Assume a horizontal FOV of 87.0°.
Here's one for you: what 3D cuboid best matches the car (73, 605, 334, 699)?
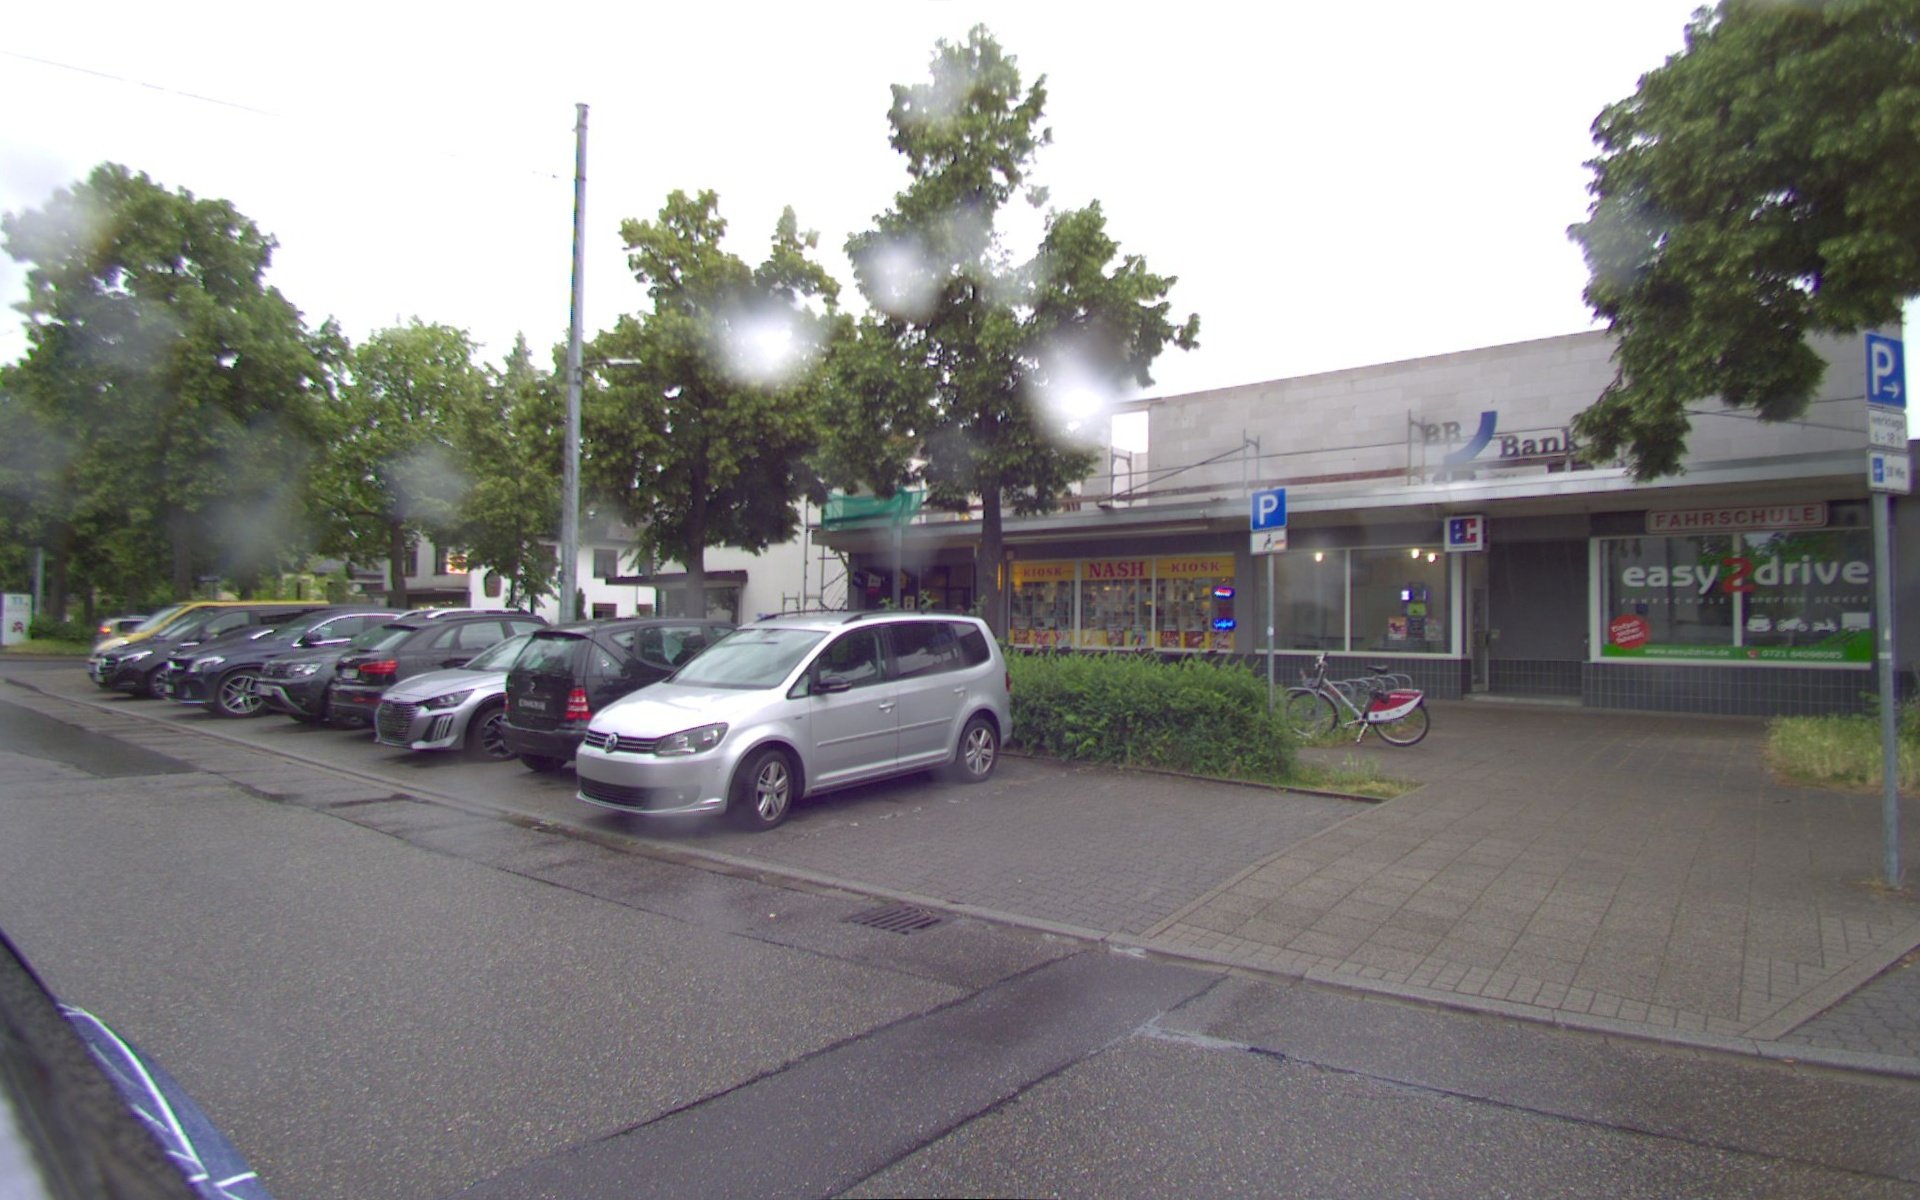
[{"bbox_3d":[-17.443,1.110,23.568,1.713,1.973,4.600,-1,-1,38],"label":"car"}]

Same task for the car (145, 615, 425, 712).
[{"bbox_3d":[-13.006,1.138,19.740,1.713,1.639,4.231,-1,-1,38],"label":"car"}]

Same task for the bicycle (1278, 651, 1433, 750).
[{"bbox_3d":[4.803,1.200,12.341,1.739,1.115,0.316,-1,0,25],"label":"bicycle"}]

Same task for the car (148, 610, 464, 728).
[{"bbox_3d":[-10.986,1.052,17.283,1.713,1.740,4.231,-1,-1,38],"label":"car"}]

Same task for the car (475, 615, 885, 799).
[{"bbox_3d":[-2.846,0.978,11.144,1.633,1.577,4.231,-1,0,38],"label":"car"}]

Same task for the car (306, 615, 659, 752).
[{"bbox_3d":[-6.571,1.033,14.348,1.713,1.607,4.231,-1,-1,38],"label":"car"}]

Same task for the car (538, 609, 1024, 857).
[{"bbox_3d":[-1.319,0.911,9.002,1.713,1.647,4.231,-1,-1,38],"label":"car"}]

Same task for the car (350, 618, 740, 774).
[{"bbox_3d":[-4.954,1.027,12.607,1.713,1.544,4.231,-1,-1,38],"label":"car"}]

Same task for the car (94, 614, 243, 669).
[{"bbox_3d":[-27.047,1.359,34.660,3.937,1.700,1.844,-1,0,-40],"label":"car"}]

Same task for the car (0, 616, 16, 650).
[{"bbox_3d":[-49.738,1.679,50.244,1.997,1.698,3.950,-1,0,37],"label":"car"}]

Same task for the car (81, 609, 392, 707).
[{"bbox_3d":[-15.152,1.118,21.514,1.713,1.813,5.114,-1,-1,38],"label":"car"}]

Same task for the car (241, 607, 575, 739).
[{"bbox_3d":[-8.346,0.988,15.643,1.713,1.740,4.231,-1,-1,38],"label":"car"}]
